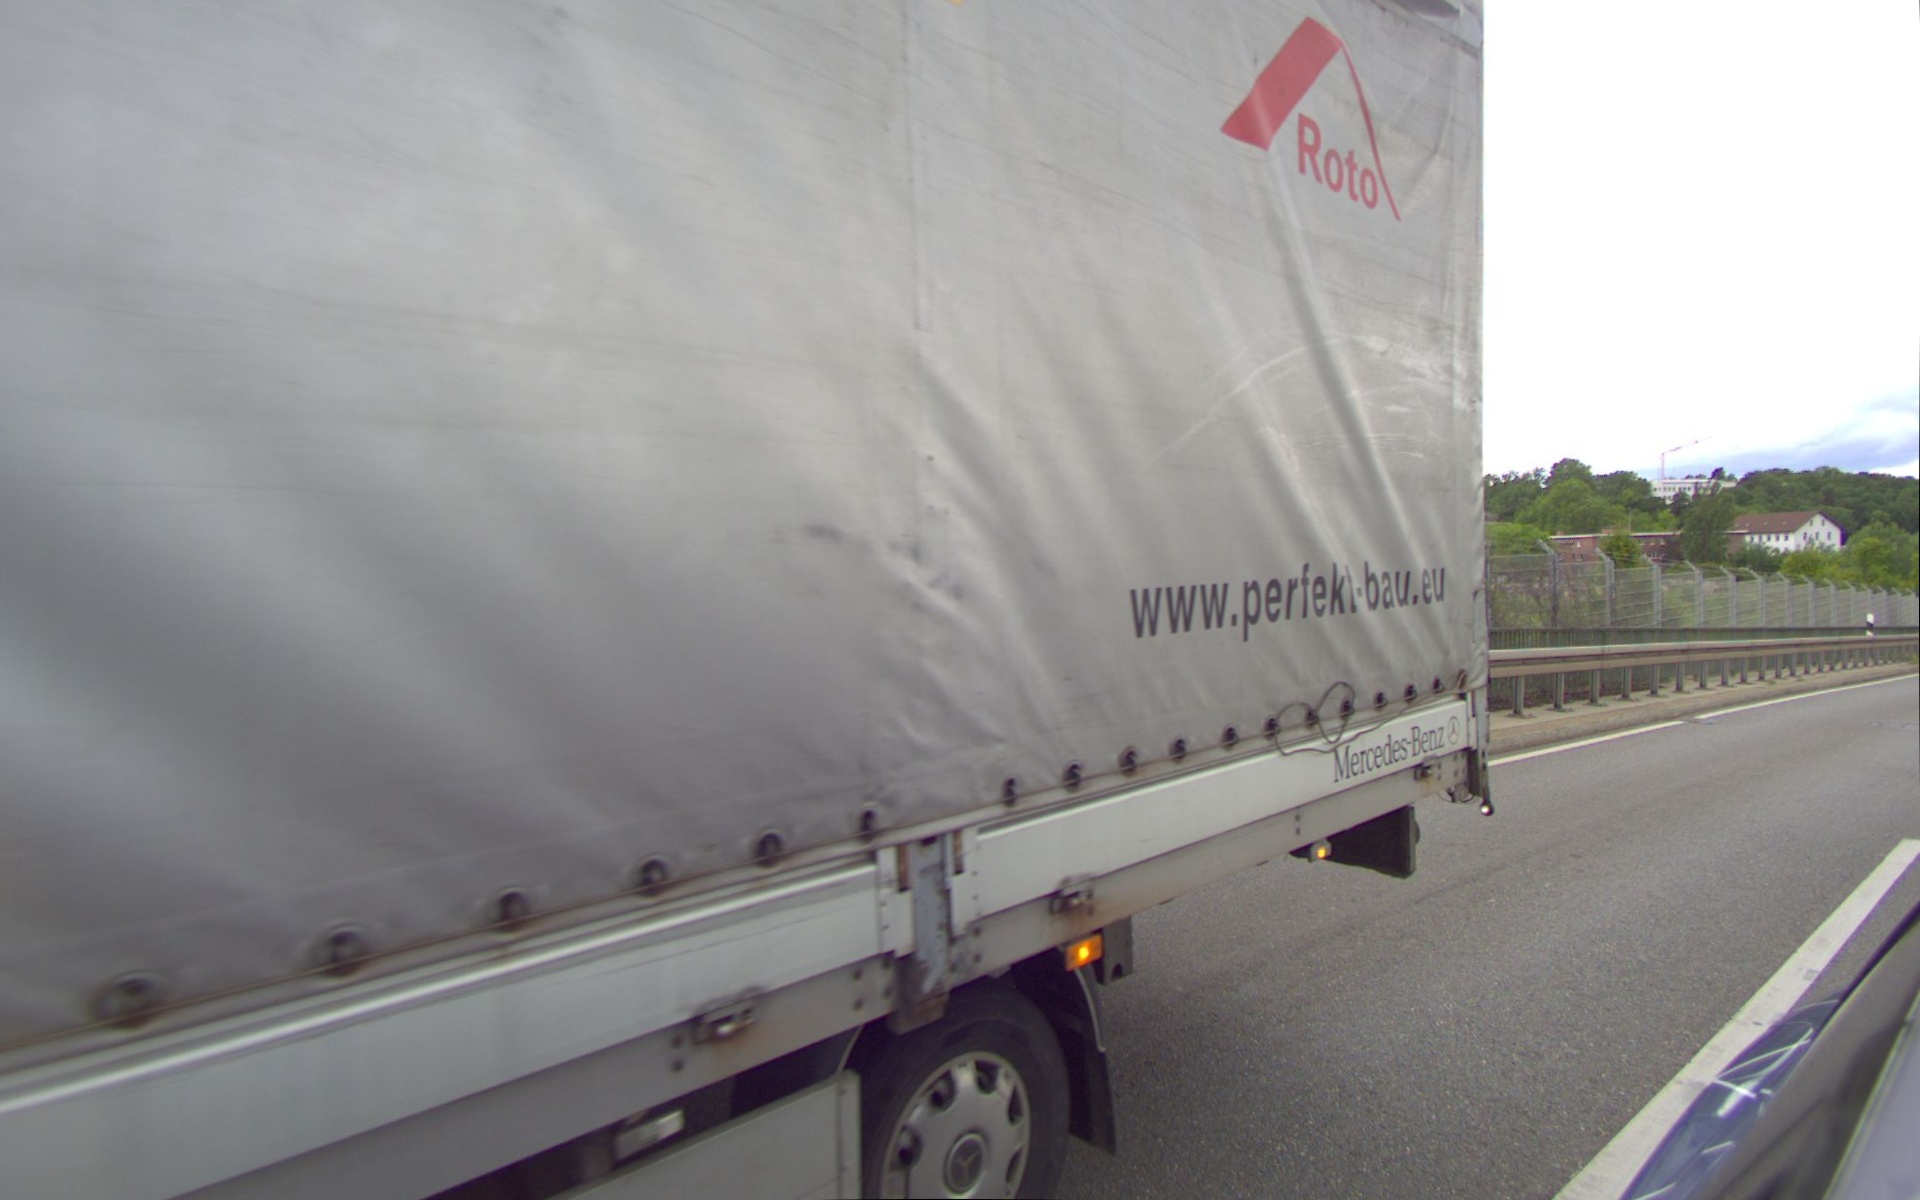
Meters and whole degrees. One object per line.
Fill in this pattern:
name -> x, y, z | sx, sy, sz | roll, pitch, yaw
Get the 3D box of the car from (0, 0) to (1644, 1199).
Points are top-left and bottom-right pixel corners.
car -> -1.346, -0.190, 1.933 | 6.966, 3.371, 2.664 | -1, 1, -41
